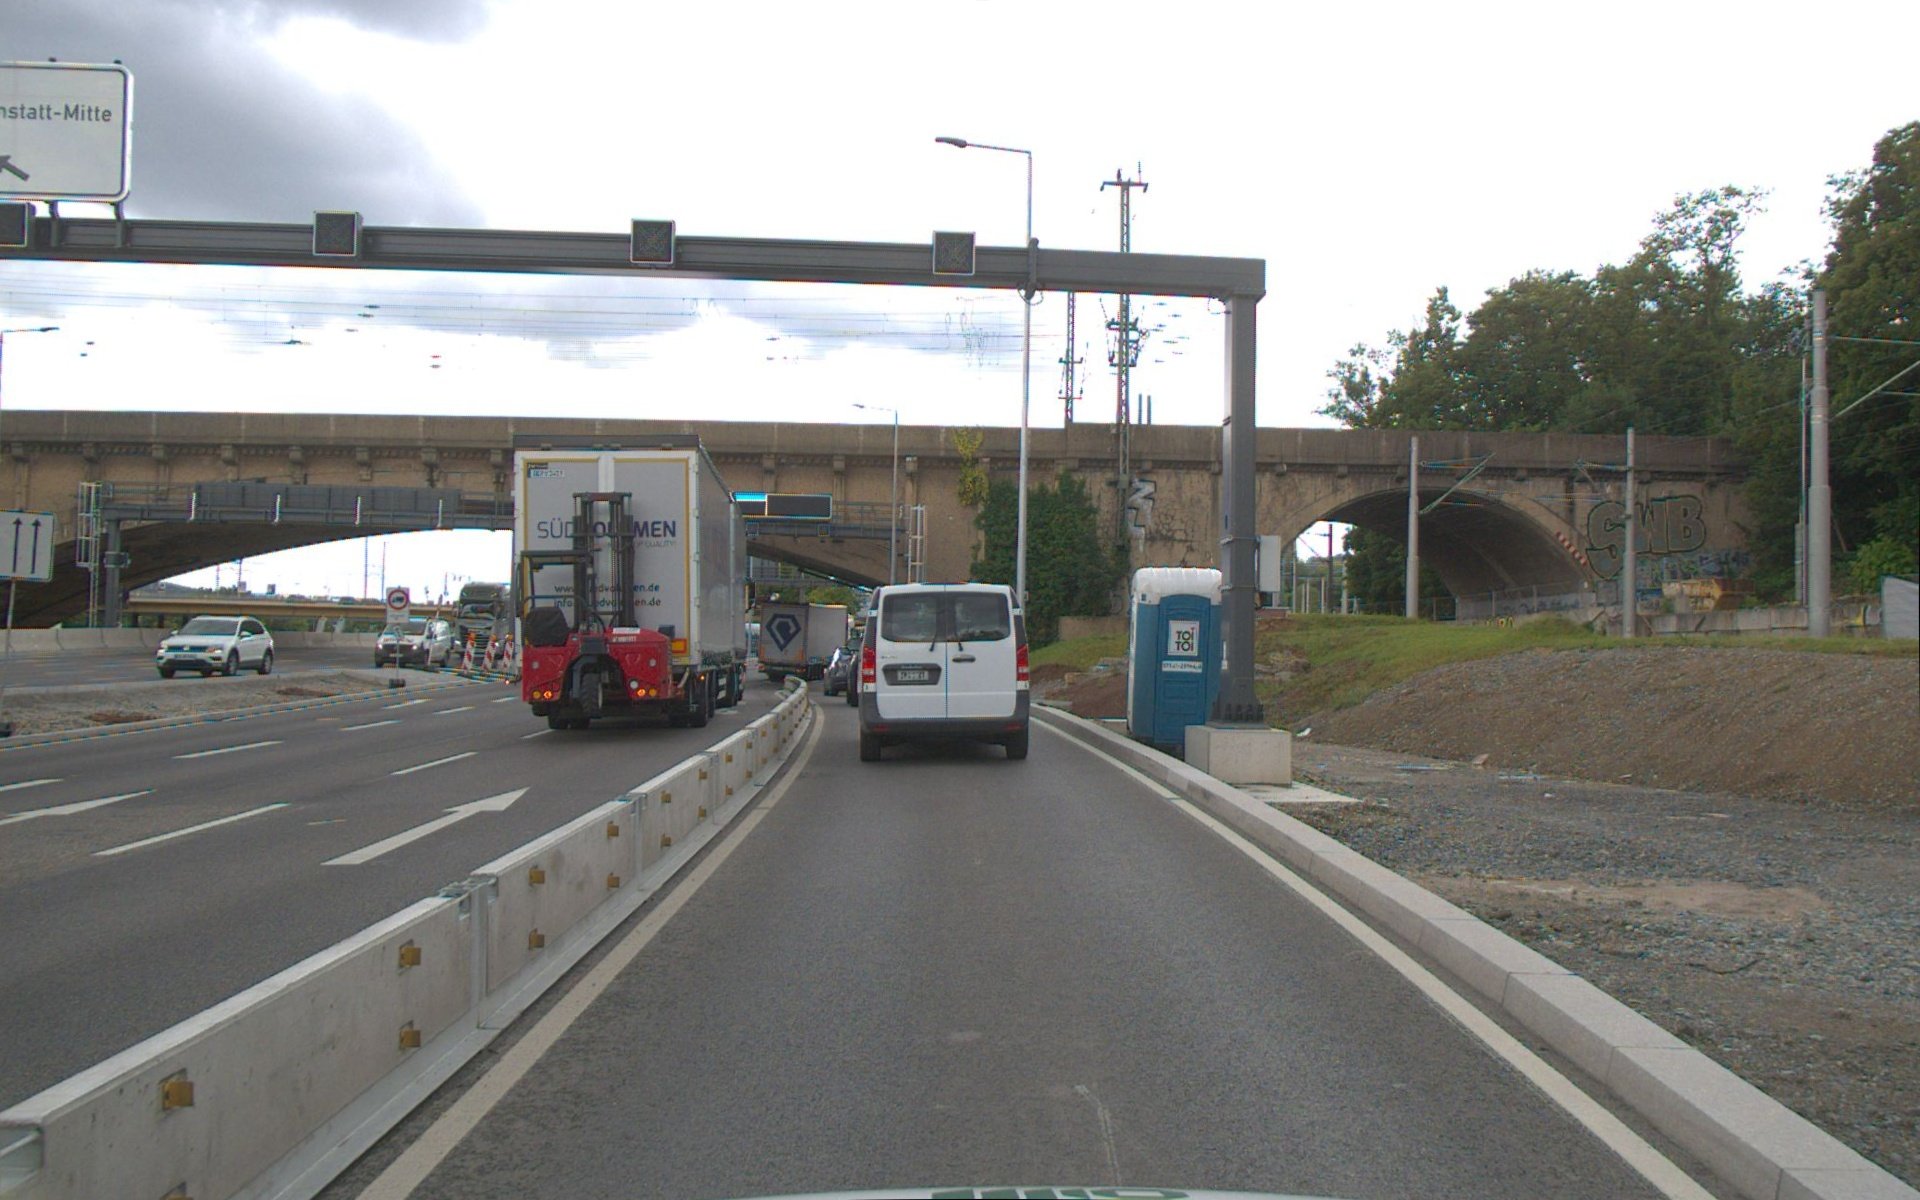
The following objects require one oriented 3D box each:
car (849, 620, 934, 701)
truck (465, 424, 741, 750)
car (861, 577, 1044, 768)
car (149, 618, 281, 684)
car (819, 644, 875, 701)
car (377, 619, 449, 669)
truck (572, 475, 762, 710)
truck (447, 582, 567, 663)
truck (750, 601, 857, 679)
[{"bbox_3d":[-1.458,1.296,35.714,1.714,1.654,3.842,0,-2,-2],"label":"car"},{"bbox_3d":[-5.245,-0.121,26.316,2.861,4.087,10.190,2,-1,-5],"label":"truck"},{"bbox_3d":[-0.054,0.756,19.323,1.837,1.924,4.753,1,0,1],"label":"car"},{"bbox_3d":[-20.038,1.346,44.664,1.764,1.691,4.285,1,-1,-3],"label":"car"},{"bbox_3d":[-3.222,2.072,46.732,1.471,1.495,3.394,2,-4,-5],"label":"car"},{"bbox_3d":[-21.192,1.693,64.203,1.790,1.839,3.797,1,-1,-5],"label":"car"},{"bbox_3d":[-6.080,0.033,36.221,2.929,4.250,11.227,2,-2,-5],"label":"truck"},{"bbox_3d":[-24.819,1.291,91.618,2.840,4.133,13.985,0,-1,0],"label":"truck"},{"bbox_3d":[-8.595,2.317,93.780,3.247,3.876,16.598,3,-2,4],"label":"truck"}]
